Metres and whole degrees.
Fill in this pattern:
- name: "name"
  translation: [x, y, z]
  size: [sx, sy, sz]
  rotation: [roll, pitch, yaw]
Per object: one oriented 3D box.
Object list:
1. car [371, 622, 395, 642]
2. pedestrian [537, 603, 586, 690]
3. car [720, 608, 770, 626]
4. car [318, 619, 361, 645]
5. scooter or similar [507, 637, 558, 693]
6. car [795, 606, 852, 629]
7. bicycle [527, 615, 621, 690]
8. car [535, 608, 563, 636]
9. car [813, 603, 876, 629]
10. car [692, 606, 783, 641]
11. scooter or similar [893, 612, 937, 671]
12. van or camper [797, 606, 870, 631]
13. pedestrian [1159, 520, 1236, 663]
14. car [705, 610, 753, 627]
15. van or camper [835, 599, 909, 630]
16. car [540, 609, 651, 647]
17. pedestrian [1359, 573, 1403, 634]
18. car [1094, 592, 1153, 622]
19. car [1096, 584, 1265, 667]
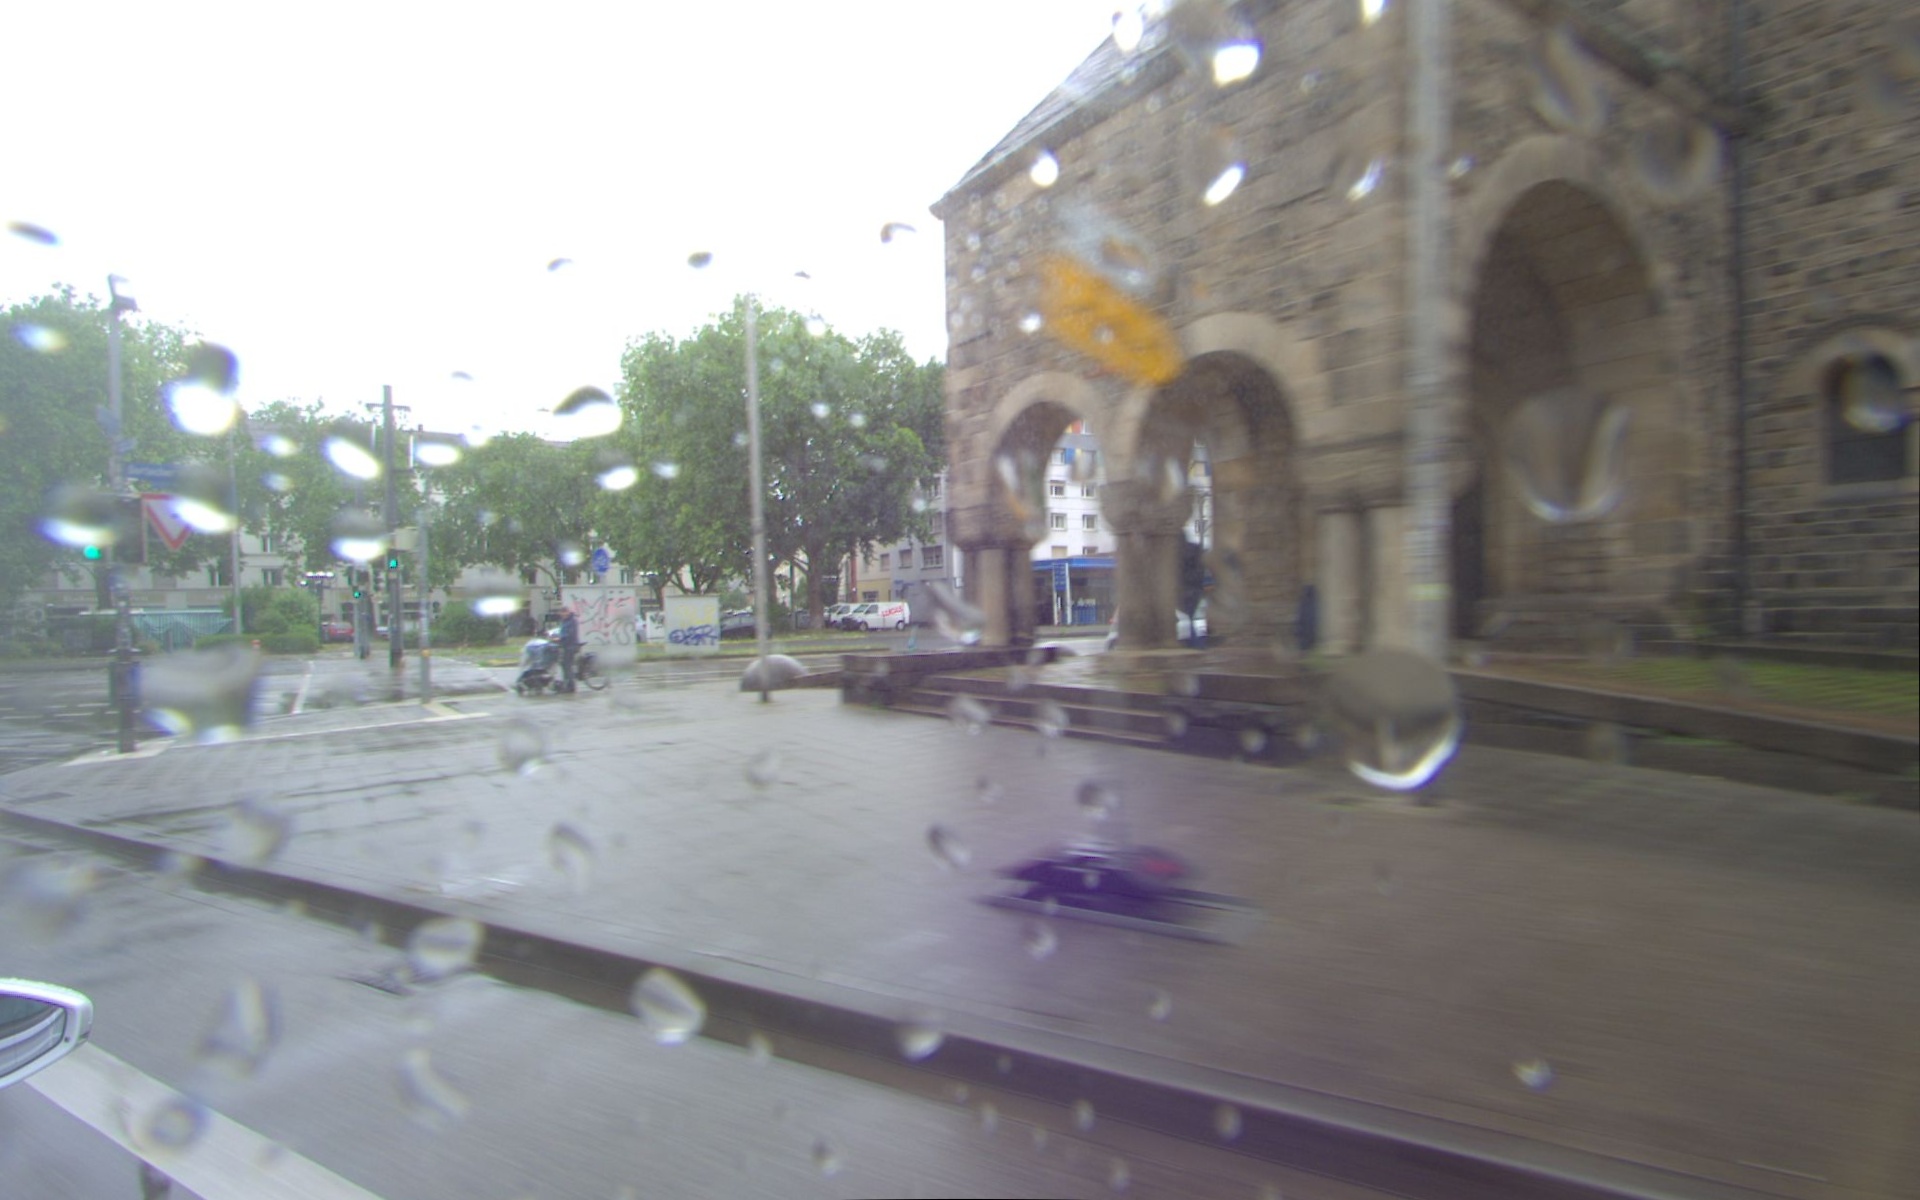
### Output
- name: "car"
  translation: [-47.462, 2.608, 82.362]
  size: [1.533, 1.485, 3.349]
  rotation: [-2, -2, -33]
- name: "pedestrian"
  translation: [-7.921, 0.916, 19.892]
  size: [0.680, 1.686, 0.601]
  rotation: [0, 1, 36]
- name: "car"
  translation: [-18.954, 1.529, 88.462]
  size: [3.945, 1.471, 1.667]
  rotation: [-2, 0, -33]
- name: "car"
  translation: [-39.468, 2.050, 63.645]
  size: [1.650, 1.541, 3.646]
  rotation: [-2, 0, -42]
- name: "scooter or similar"
  translation: [-8.401, 1.262, 19.668]
  size: [0.912, 1.062, 0.511]
  rotation: [-1, 1, 35]
- name: "car"
  translation: [-10.398, 1.341, 76.176]
  size: [3.946, 1.611, 1.662]
  rotation: [-1, 0, -34]
- name: "bicycle"
  translation: [-7.865, 1.057, 20.389]
  size: [1.908, 1.486, 0.532]
  rotation: [-1, 1, 23]
- name: "car"
  translation: [-36.378, 1.974, 88.559]
  size: [1.533, 2.231, 4.077]
  rotation: [-2, -2, -32]
- name: "car"
  translation: [-8.352, 1.148, 72.319]
  size: [4.209, 1.802, 1.725]
  rotation: [-1, 0, -38]
- name: "car"
  translation: [-11.125, 1.150, 50.156]
  size: [4.124, 1.621, 1.767]
  rotation: [-1, 0, -35]
- name: "scooter or similar"
  translation: [-1.105, 1.023, 24.833]
  size: [1.089, 1.405, 0.285]
  rotation: [-1, 1, -35]
- name: "van or camper"
  translation: [-8.738, 1.280, 69.406]
  size: [4.614, 1.620, 1.985]
  rotation: [-1, 0, -38]
- name: "pedestrian"
  translation: [2.982, -0.103, 12.565]
  size: [0.626, 1.725, 0.673]
  rotation: [-2, 1, -37]
- name: "car"
  translation: [-21.386, 1.727, 92.735]
  size: [3.945, 1.471, 1.667]
  rotation: [-2, 0, -33]
- name: "van or camper"
  translation: [-5.902, 0.970, 67.501]
  size: [4.614, 1.940, 1.985]
  rotation: [-1, 0, -38]
- name: "car"
  translation: [-16.761, 1.249, 46.177]
  size: [4.496, 1.621, 1.780]
  rotation: [-1, 0, -35]
- name: "pedestrian"
  translation: [6.268, 0.056, 14.914]
  size: [0.391, 0.896, 0.453]
  rotation: [-2, 1, -35]
- name: "car"
  translation: [11.846, 0.518, 72.820]
  size: [1.974, 2.040, 3.974]
  rotation: [-1, 0, -35]
- name: "car"
  translation: [4.725, 0.597, 21.833]
  size: [1.712, 1.593, 3.343]
  rotation: [-1, -4, -31]
